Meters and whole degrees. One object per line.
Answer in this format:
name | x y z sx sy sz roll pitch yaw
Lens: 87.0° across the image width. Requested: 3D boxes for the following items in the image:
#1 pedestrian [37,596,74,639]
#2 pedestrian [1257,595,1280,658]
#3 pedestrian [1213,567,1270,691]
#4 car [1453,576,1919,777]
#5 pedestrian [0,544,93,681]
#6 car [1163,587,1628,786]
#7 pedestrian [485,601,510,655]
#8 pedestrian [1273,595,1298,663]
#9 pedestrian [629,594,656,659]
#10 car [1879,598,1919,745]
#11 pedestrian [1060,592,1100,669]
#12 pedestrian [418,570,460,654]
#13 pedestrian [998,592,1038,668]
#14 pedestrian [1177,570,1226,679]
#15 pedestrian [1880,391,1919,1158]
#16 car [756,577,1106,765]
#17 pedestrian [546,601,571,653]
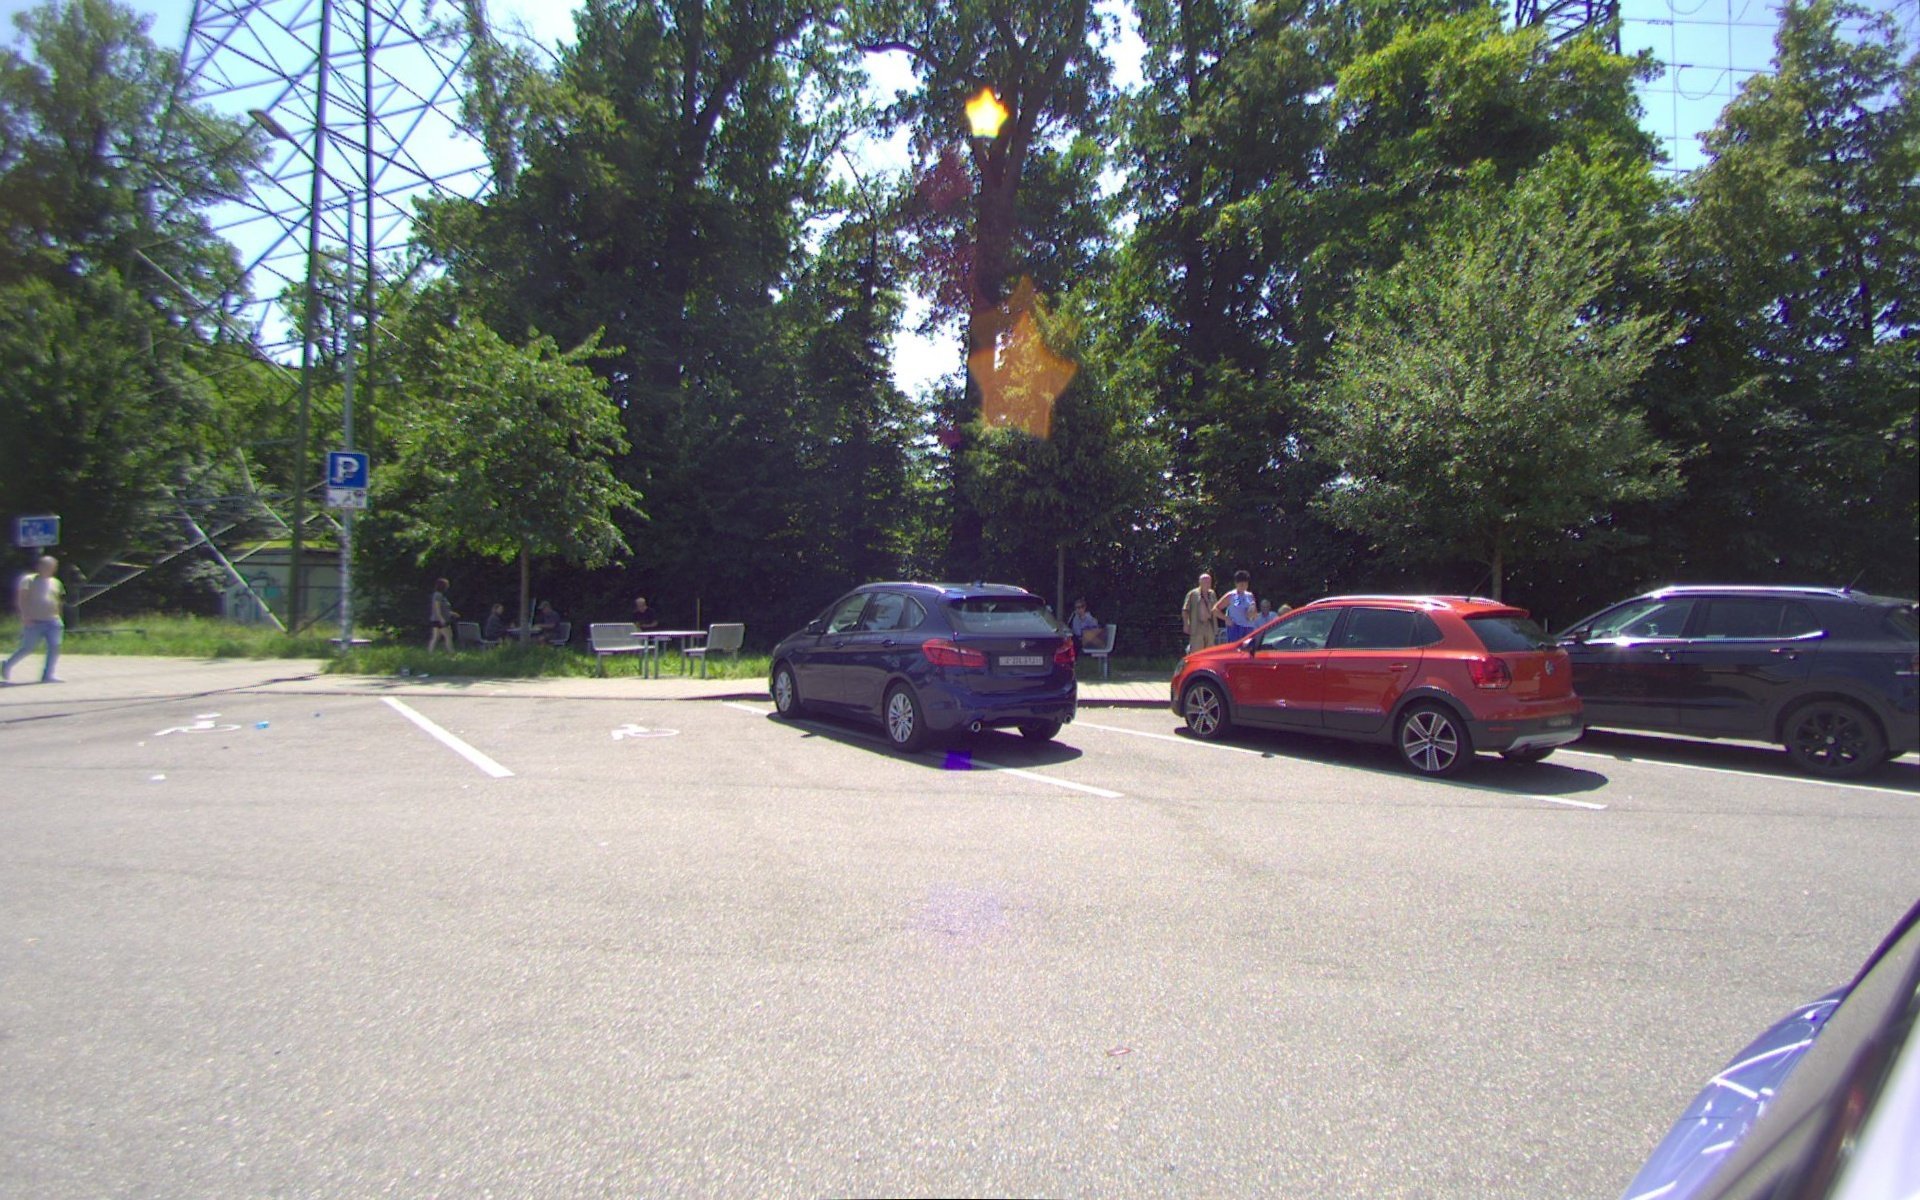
pedestrian | -20.953 0.405 23.443 0.452 0.987 0.447 0 0 -2
pedestrian | 5.817 0.495 19.109 0.350 1.180 0.384 0 0 8
pedestrian | 3.757 0.377 13.532 0.636 1.625 0.571 0 0 7
car | 7.094 0.590 9.848 1.620 1.575 3.826 0 0 -37
pedestrian | -13.393 0.180 14.708 0.904 1.929 0.813 0 0 3
car | 3.878 0.633 9.632 1.619 1.487 3.830 0 0 -33
pedestrian | -10.435 0.620 22.842 0.452 1.182 0.447 0 0 -34
pedestrian | 5.769 0.506 17.933 0.350 1.180 0.384 0 0 8
pedestrian | -6.688 0.551 21.330 0.438 1.363 0.462 0 0 -5
car | 10.894 0.700 8.993 1.620 1.420 3.826 0 0 -37
pedestrian | 2.001 0.496 16.840 0.586 1.261 0.498 0 0 16
pedestrian | -10.596 0.227 20.597 0.700 1.670 0.689 0 0 -22
pedestrian | 0.987 0.499 17.096 0.586 1.261 0.445 0 0 16
pedestrian | 3.652 0.360 15.330 0.636 1.625 0.571 0 0 7
pedestrian | 3.013 0.449 2.480 0.901 1.974 0.815 0 0 -24
car | -0.543 0.550 10.772 1.714 1.572 4.347 0 1 -33
pedestrian | -9.346 0.621 23.583 0.452 1.209 0.447 0 0 -34
